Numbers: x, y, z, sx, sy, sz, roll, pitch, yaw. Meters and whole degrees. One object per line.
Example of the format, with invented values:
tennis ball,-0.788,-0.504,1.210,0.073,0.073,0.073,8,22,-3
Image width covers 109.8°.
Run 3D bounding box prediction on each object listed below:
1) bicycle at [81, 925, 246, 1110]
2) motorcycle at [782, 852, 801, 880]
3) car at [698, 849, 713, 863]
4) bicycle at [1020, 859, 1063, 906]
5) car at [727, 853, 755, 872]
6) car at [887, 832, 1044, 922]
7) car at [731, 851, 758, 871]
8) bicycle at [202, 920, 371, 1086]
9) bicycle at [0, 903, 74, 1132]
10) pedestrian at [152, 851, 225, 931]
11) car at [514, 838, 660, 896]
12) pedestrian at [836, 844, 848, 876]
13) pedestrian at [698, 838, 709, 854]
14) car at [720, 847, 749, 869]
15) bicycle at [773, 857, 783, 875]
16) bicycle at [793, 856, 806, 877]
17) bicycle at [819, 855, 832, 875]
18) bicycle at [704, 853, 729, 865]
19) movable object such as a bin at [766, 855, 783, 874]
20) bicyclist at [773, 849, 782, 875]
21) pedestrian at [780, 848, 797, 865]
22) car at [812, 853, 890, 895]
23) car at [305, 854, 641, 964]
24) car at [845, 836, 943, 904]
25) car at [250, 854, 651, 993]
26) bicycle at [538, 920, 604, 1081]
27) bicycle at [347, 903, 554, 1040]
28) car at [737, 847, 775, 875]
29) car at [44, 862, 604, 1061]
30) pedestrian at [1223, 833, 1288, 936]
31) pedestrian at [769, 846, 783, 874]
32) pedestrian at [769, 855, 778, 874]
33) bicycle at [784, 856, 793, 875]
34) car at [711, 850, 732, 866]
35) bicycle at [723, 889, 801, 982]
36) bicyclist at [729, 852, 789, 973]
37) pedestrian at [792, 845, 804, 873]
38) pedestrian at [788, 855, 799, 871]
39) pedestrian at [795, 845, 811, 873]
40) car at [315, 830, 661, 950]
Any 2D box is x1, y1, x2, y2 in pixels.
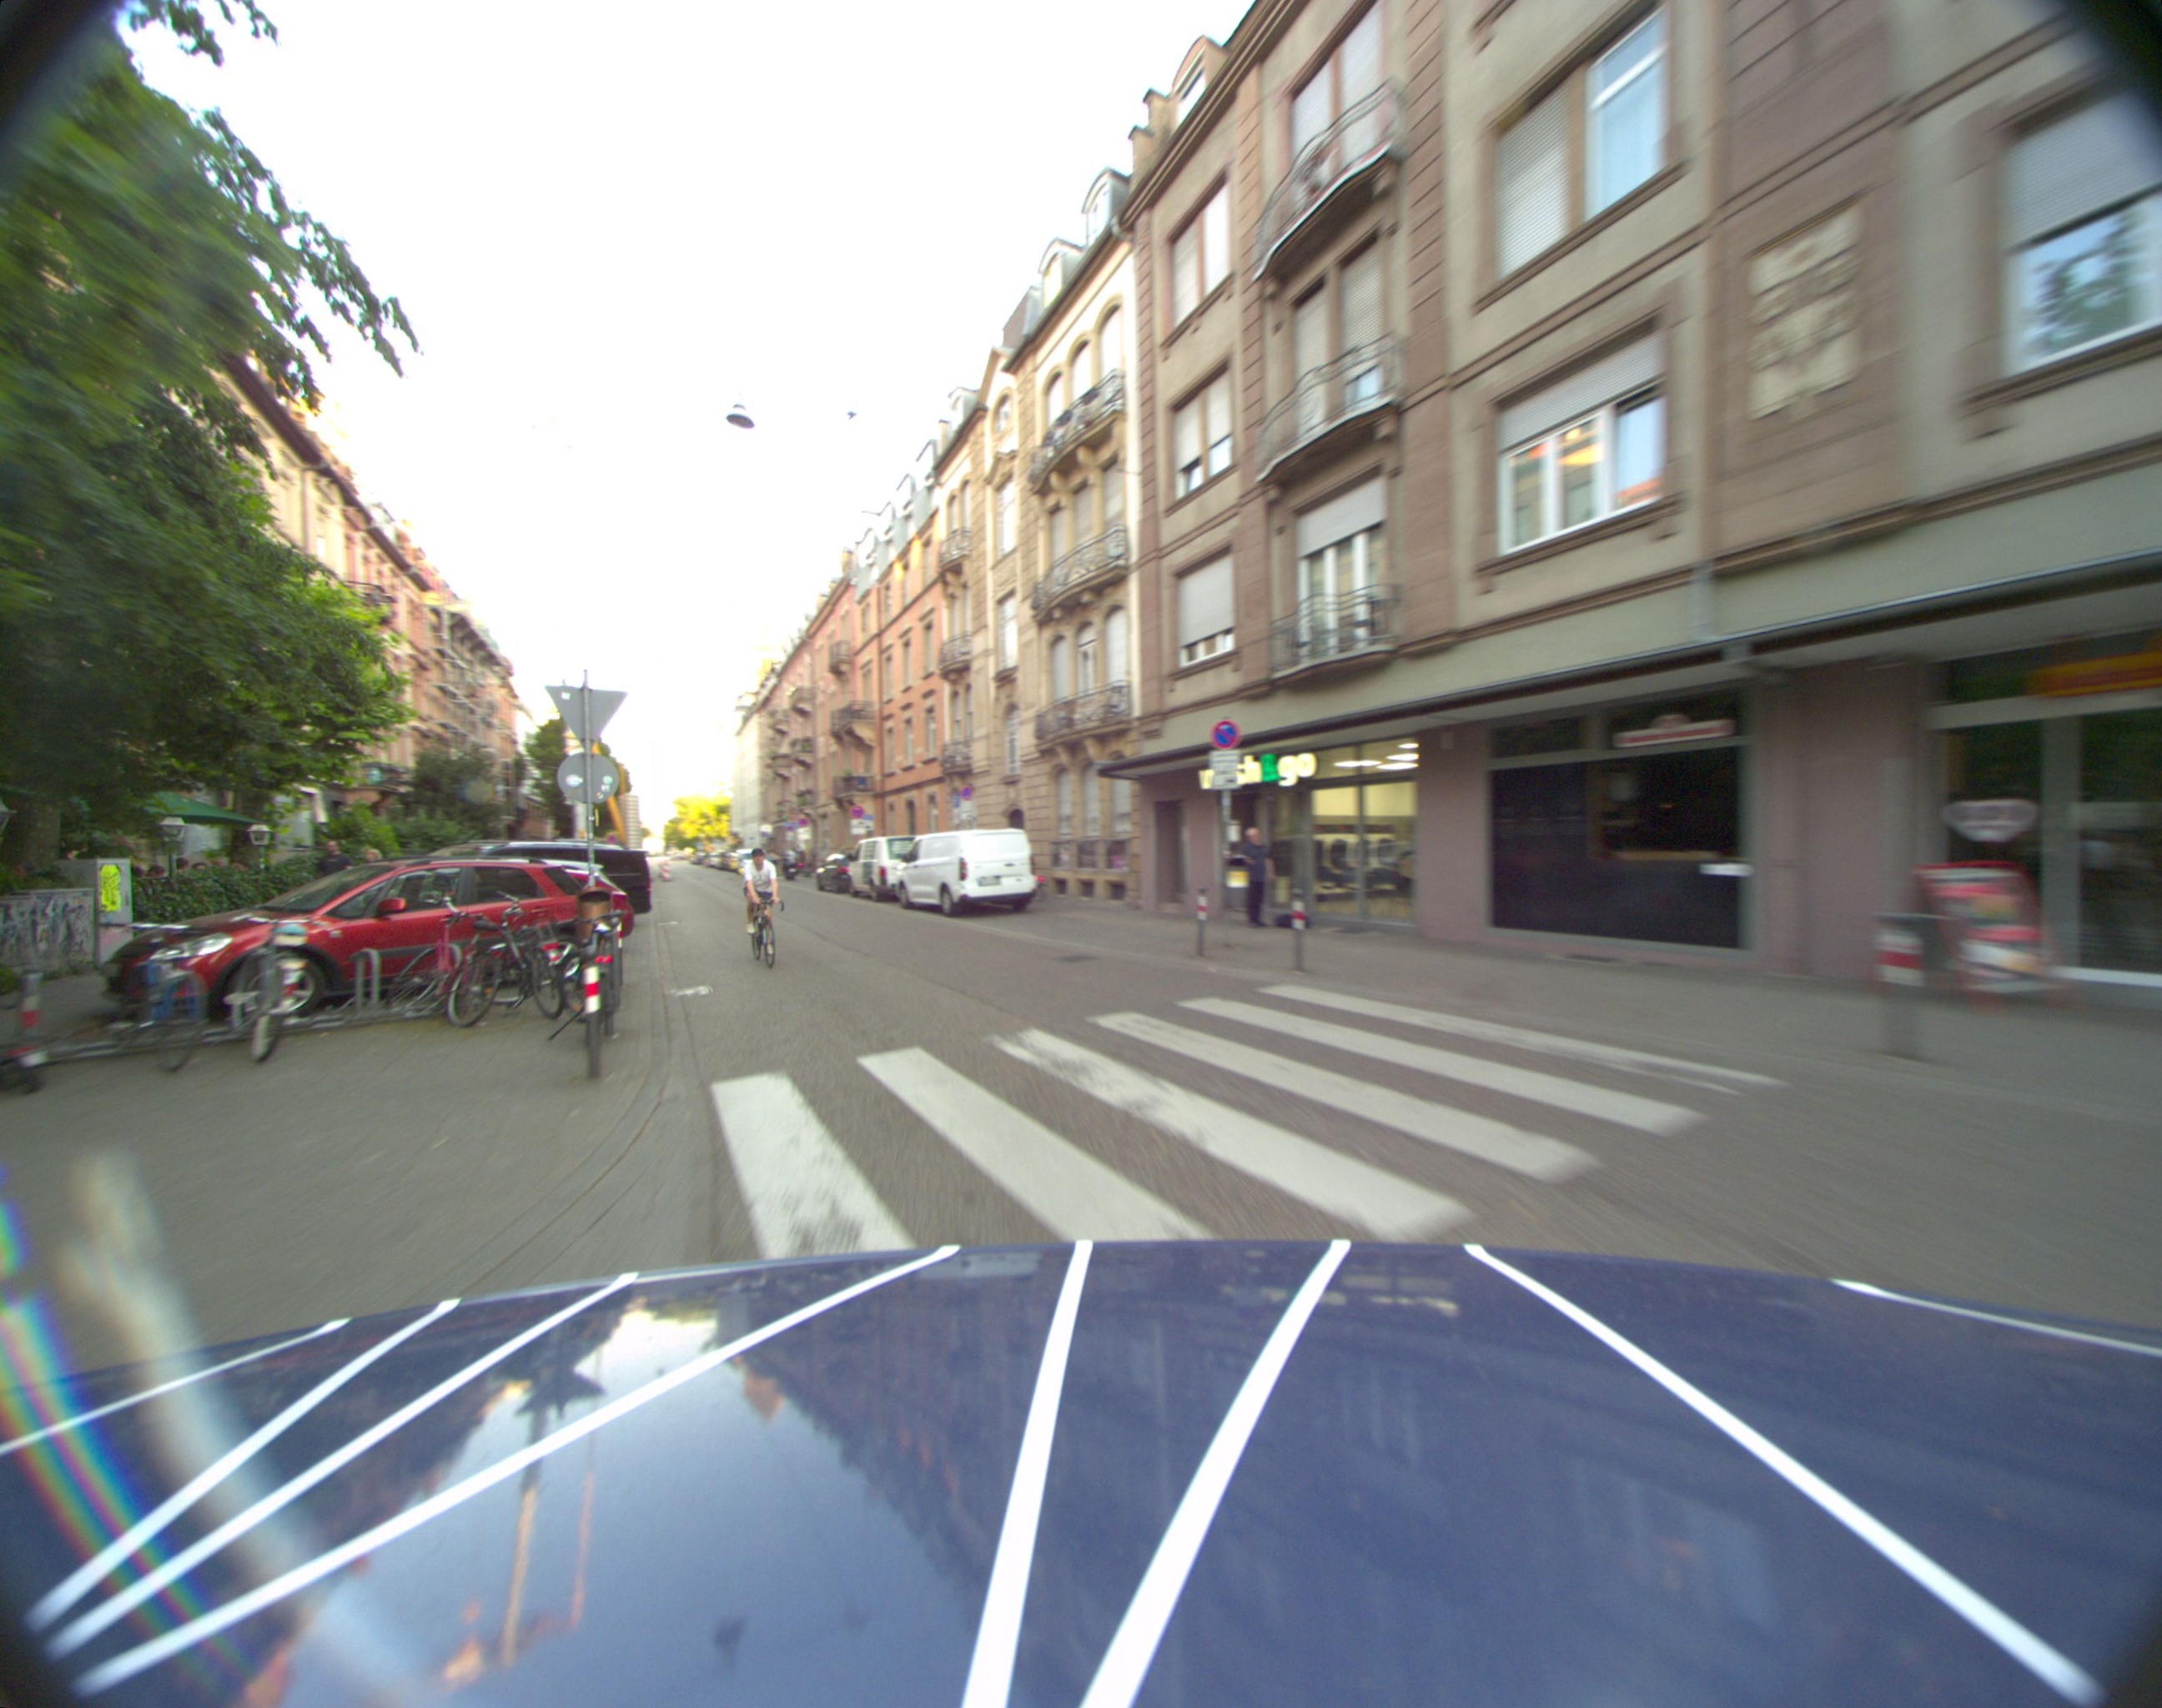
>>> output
bicycle,-6.821,1.118,5.627,1.764,1.057,0.600,0,0,34
motorcycle,-15.660,0.618,41.095,0.688,1.397,2.009,-3,2,-27
car,-54.833,0.325,110.889,1.789,1.861,4.447,-3,2,-28
bicycle,-1.078,0.747,20.481,0.473,1.136,1.780,-3,3,-26
car,-29.855,0.706,66.676,1.936,1.587,3.960,-2,1,-28
car,-3.061,0.477,19.023,2.119,1.910,5.013,-2,1,-31
car,-27.807,0.563,62.770,1.713,1.521,3.784,-2,1,-28
bicycle,-6.458,1.129,6.150,1.764,1.057,0.600,-1,3,34
bicycle,-7.138,1.006,4.906,1.764,1.281,0.600,-1,3,34
pedestrian,-16.038,0.639,13.670,0.590,1.358,0.695,-4,3,-33
car,-21.610,0.514,33.475,1.994,2.348,4.949,0,0,35
pedestrian,-13.473,0.324,42.782,0.465,1.779,0.640,-3,3,-26
pedestrian,-66.339,-1.337,133.448,1.448,2.725,1.009,-3,3,-30
car,-32.569,0.359,71.265,1.936,1.872,4.893,-2,1,-30
bicycle,-19.190,0.777,48.124,0.468,1.062,1.516,-3,2,-26
bicycle,-16.903,0.730,45.601,0.413,1.153,1.833,-3,3,-28
bicycle,-15.476,0.665,46.010,0.413,1.153,1.833,-3,3,-28
bicycle,-44.714,0.641,93.147,2.625,1.391,0.600,-3,3,-16
movable object such as a bin,-20.894,0.696,51.778,0.891,1.244,0.774,-3,3,-29
bicyclist,-19.310,0.493,48.340,0.468,1.582,0.486,-3,3,-26
pedestrian,-22.250,0.188,57.826,1.043,1.196,0.502,-3,3,-31
car,-8.920,0.705,29.221,1.846,1.462,4.162,-2,1,-31
car,-10.493,0.861,13.513,1.928,1.612,4.233,0,-1,28
car,-6.075,0.448,24.255,1.845,1.910,4.834,-2,1,-28
car,-9.122,0.882,11.496,1.929,1.678,4.232,0,-1,23
bicycle,-4.329,1.174,6.485,0.366,1.057,1.548,-4,3,-33
bicycle,-6.263,1.119,7.614,1.555,1.154,0.364,-1,1,-43
car,-23.040,0.464,53.834,1.779,1.779,4.575,-3,2,-31
car,-7.861,0.914,8.390,1.688,1.618,4.057,-1,-1,29
pedestrian,2.950,0.497,12.876,0.712,1.669,0.734,-3,2,-28
pedestrian,-20.526,0.399,51.193,0.601,1.804,0.718,-4,3,-38
pedestrian,-20.984,0.696,51.850,0.480,1.244,0.651,-3,3,-29
bicycle,-18.994,0.722,49.336,0.467,1.149,1.996,-3,2,-22
car,-39.748,0.377,83.988,1.734,1.638,3.907,-3,2,-29
bicycle,-4.717,1.147,11.177,0.522,1.149,1.778,-4,3,-39
bicyclist,-4.737,0.823,11.177,0.530,1.694,0.787,-4,3,-39
pedestrian,-19.292,0.334,51.803,0.600,1.804,0.719,-3,3,-11
pedestrian,-21.464,0.678,56.676,0.634,1.133,0.571,-3,3,-31
pedestrian,-18.236,0.342,49.842,0.685,1.800,0.959,-4,3,-33
car,-11.952,0.683,15.936,1.929,2.060,5.447,0,-1,23
